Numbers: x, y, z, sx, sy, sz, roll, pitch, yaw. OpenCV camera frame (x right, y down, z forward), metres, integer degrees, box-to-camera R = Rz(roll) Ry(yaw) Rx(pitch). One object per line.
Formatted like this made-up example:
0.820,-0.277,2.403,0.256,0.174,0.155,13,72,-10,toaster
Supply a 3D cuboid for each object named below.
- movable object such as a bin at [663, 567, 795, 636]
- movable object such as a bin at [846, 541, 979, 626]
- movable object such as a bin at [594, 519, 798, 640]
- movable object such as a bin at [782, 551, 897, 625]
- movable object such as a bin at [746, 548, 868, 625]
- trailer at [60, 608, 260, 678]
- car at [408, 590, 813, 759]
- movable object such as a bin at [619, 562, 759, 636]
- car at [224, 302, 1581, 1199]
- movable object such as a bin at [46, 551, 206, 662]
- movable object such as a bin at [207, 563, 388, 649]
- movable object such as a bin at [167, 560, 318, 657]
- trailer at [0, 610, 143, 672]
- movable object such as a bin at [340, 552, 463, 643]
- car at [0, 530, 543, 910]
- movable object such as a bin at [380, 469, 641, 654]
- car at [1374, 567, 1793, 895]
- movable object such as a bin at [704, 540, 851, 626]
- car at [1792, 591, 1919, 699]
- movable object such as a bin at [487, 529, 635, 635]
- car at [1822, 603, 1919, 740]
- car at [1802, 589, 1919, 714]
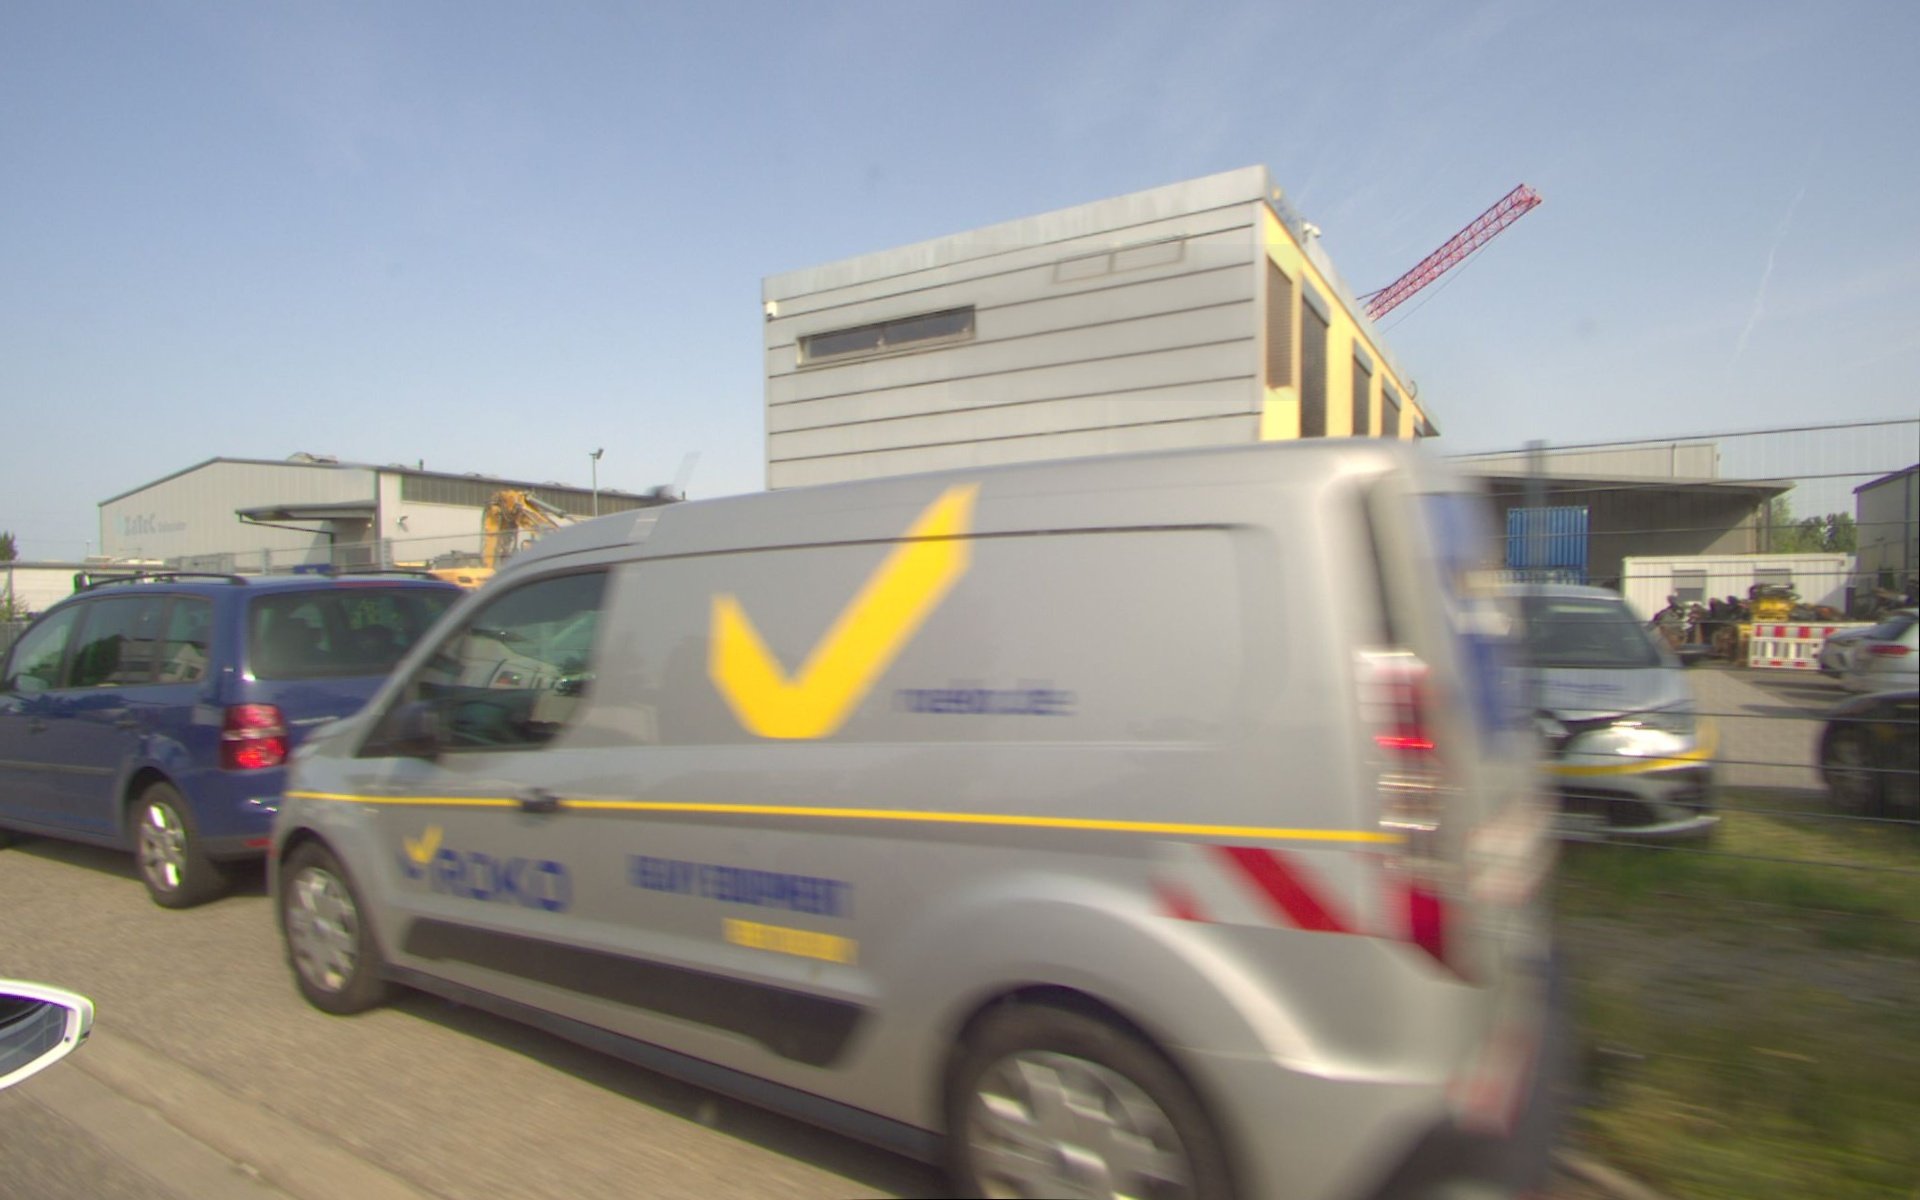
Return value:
-9.847,0.019,42.514,5.604,2.807,2.050,1,2,30,movable object such as a bin
-2.344,-0.776,49.293,5.928,3.982,2.715,0,1,27,movable object such as a bin
-9.523,-0.723,35.950,7.098,3.983,2.913,1,2,30,movable object such as a bin
-6.733,-0.638,55.753,6.047,3.982,2.448,0,1,28,movable object such as a bin
-8.053,-0.669,52.659,6.047,3.832,2.448,0,1,28,movable object such as a bin
-16.952,0.861,21.172,4.499,1.328,1.989,-1,0,33,trailer
-3.681,0.668,11.361,1.869,1.515,4.221,1,1,28,car
-10.894,-0.064,40.124,5.604,2.807,2.050,1,2,30,movable object such as a bin
-0.469,0.504,3.558,4.535,1.813,1.989,-1,0,33,car
-22.903,0.157,27.434,5.085,2.789,1.882,0,1,32,movable object such as a bin
-21.228,0.164,32.060,5.262,2.525,2.916,0,1,32,movable object such as a bin
-20.013,0.203,27.861,4.700,2.491,1.986,0,1,36,movable object such as a bin
-21.166,0.894,23.352,4.229,1.260,1.941,0,1,30,trailer
-20.078,-0.086,35.981,4.427,3.072,1.988,0,1,32,movable object such as a bin
-4.828,0.586,6.456,4.186,1.743,1.823,-1,0,31,car
-13.381,-1.052,29.677,7.557,4.871,3.311,1,1,30,movable object such as a bin
3.895,0.655,6.757,1.762,1.496,3.987,0,-1,26,car
-9.051,-0.796,49.444,7.090,3.982,2.463,0,1,28,movable object such as a bin
16.608,0.726,16.332,4.301,1.714,1.888,1,0,27,car
-15.952,-0.679,39.936,5.636,3.926,2.678,0,1,32,movable object such as a bin
13.095,0.846,11.623,4.301,1.577,1.888,1,0,27,car
14.817,0.723,13.979,4.301,1.714,1.888,1,0,27,car
